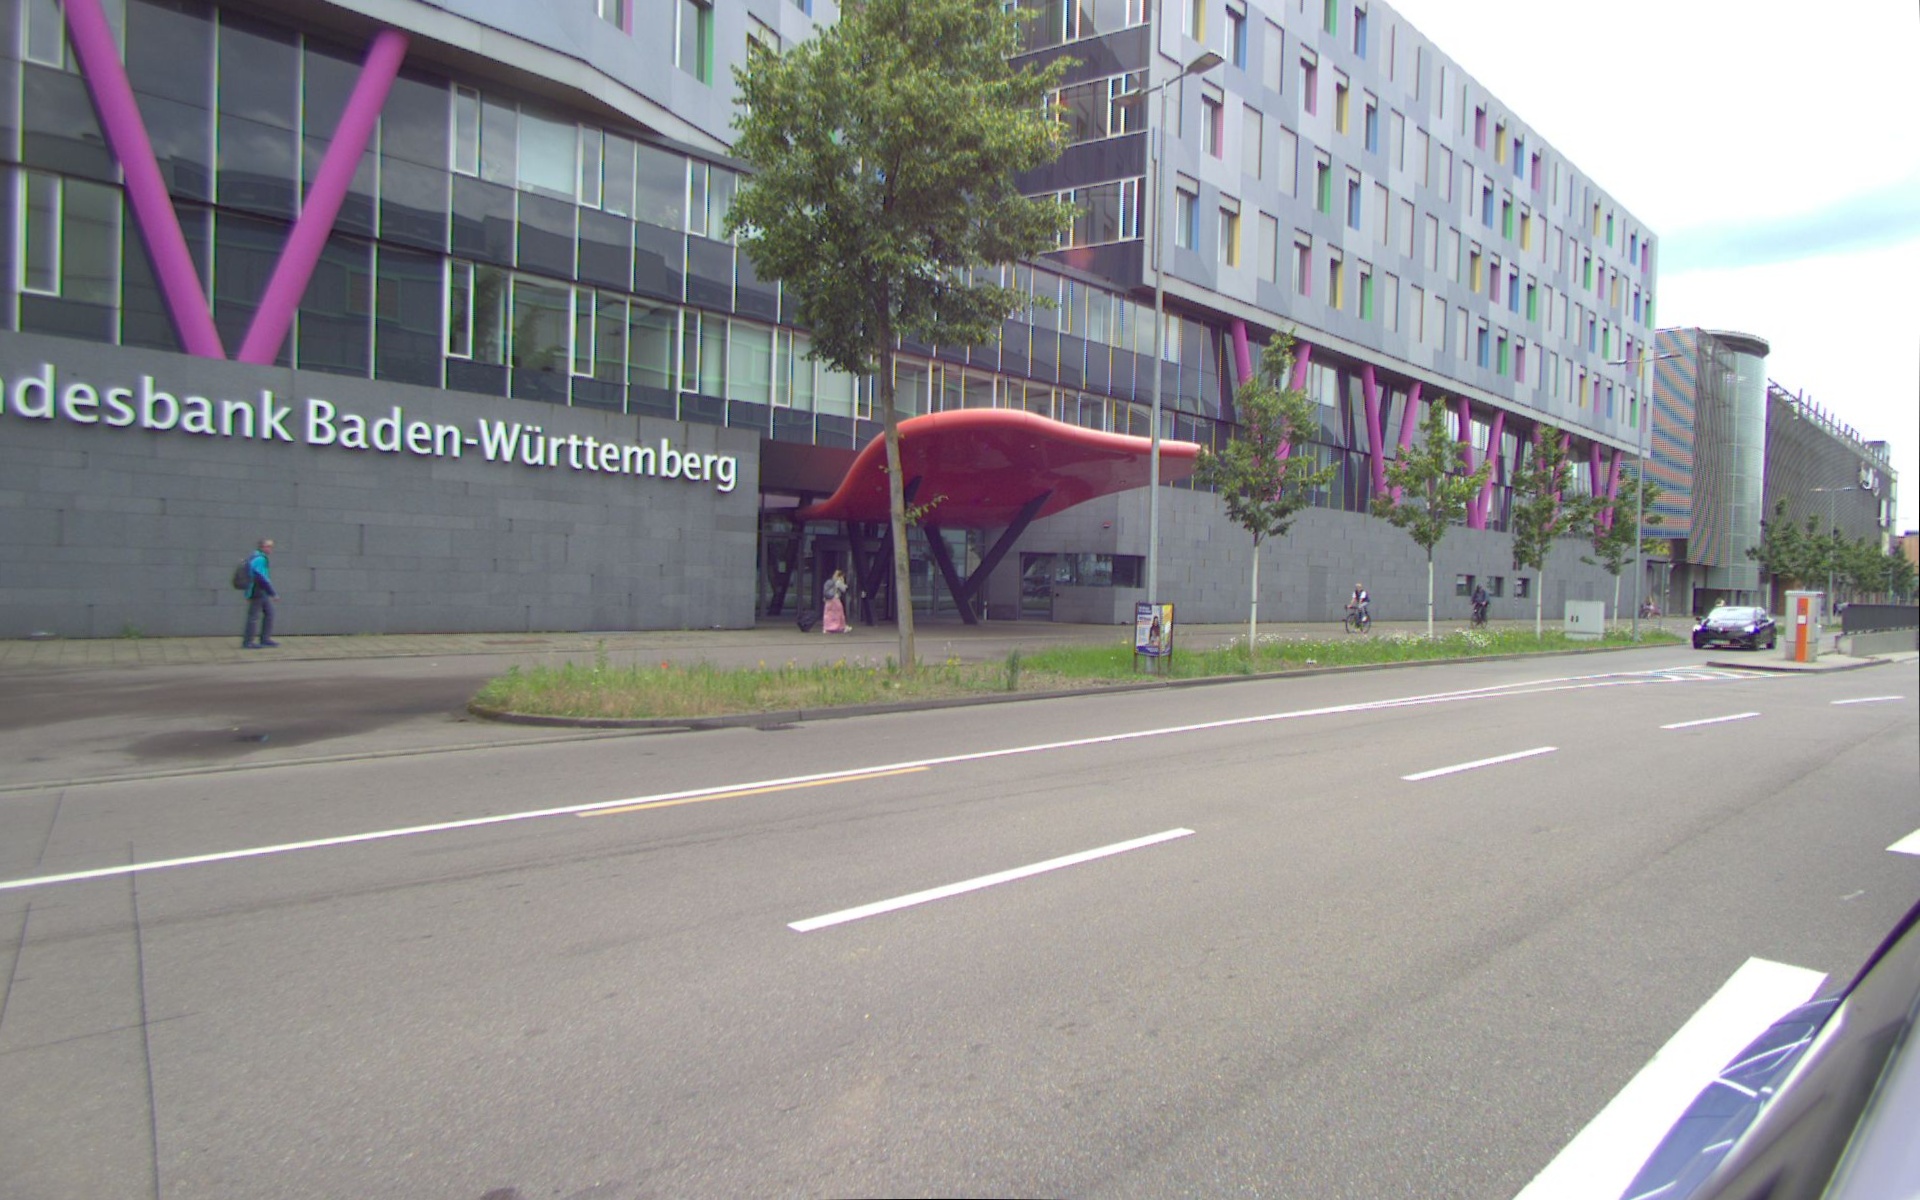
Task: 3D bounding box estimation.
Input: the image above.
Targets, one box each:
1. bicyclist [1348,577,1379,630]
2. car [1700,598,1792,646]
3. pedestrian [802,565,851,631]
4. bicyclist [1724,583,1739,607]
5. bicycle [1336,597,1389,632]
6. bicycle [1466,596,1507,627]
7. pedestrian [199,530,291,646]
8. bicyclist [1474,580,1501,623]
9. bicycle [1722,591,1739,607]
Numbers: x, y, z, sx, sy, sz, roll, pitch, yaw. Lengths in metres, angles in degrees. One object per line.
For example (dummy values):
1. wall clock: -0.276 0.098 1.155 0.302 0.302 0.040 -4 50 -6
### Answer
1. bicyclist: 14.324 0.120 35.947 0.692 1.825 0.783 2 -1 -41
2. car: 26.037 0.691 33.478 4.266 1.480 1.566 0 -1 -41
3. pedestrian: -3.333 -0.053 25.318 0.898 1.602 0.786 1 1 -40
4. bicyclist: 59.788 -0.417 78.440 0.770 1.809 0.959 2 1 44
5. bicycle: 14.321 0.523 35.959 2.304 1.173 0.800 1 0 -42
6. bicycle: 23.025 0.502 44.229 2.303 1.173 0.800 6 -3 -42
7. pedestrian: -11.588 -0.196 16.399 1.116 1.792 1.054 1 1 -40
8. bicyclist: 23.051 0.056 44.247 0.692 1.826 0.783 6 -4 -41
9. bicycle: 59.576 -0.083 78.229 0.783 1.209 2.185 2 1 44
